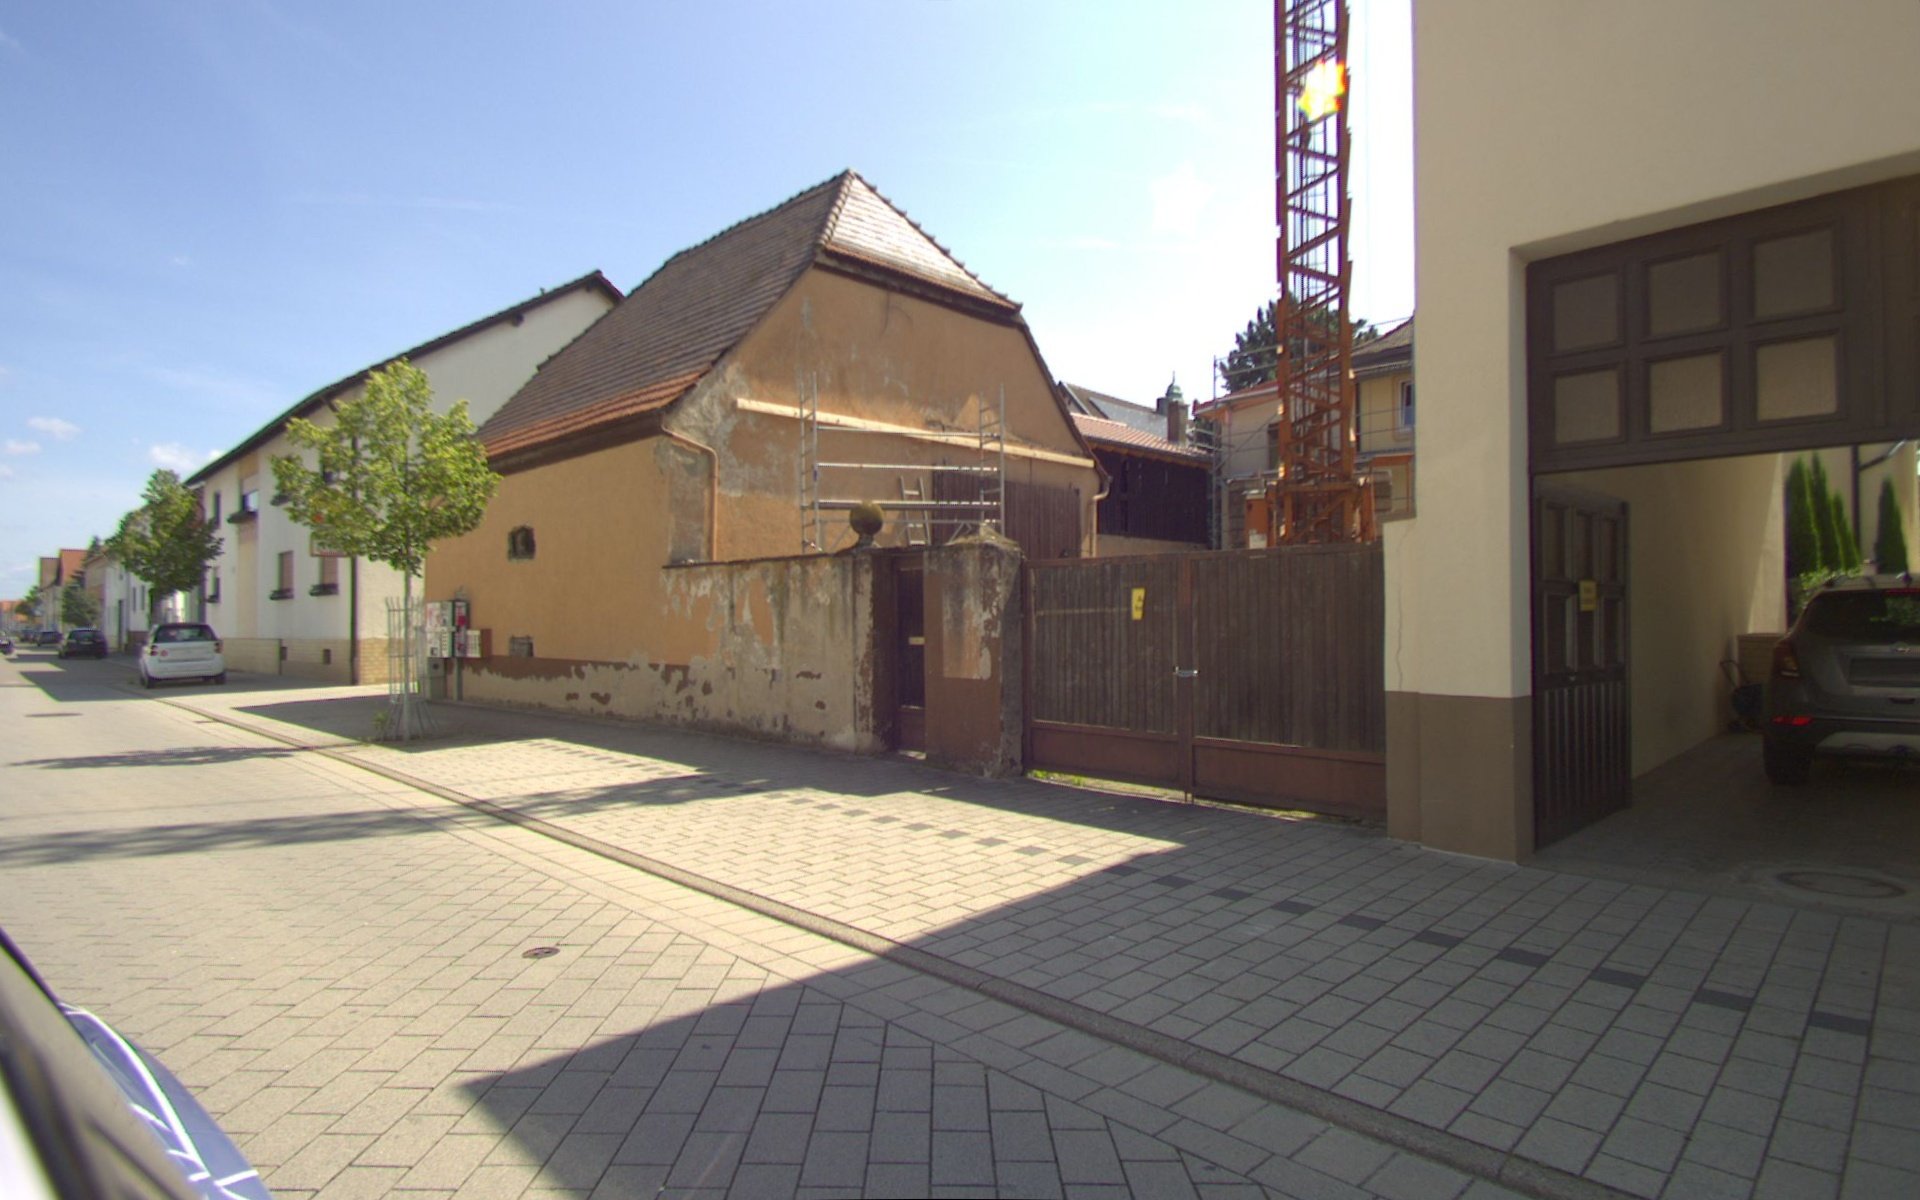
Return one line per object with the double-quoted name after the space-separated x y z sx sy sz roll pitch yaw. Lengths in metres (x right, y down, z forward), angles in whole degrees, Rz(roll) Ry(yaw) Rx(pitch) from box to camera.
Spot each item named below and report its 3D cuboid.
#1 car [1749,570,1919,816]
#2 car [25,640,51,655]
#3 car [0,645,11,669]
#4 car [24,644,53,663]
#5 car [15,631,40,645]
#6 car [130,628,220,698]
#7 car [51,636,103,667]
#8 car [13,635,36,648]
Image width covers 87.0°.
8.048 0.590 8.186 3.938 1.637 1.892 -3 0 -41 "car"
-99.500 5.149 109.172 4.001 1.564 1.829 -2 -3 44 "car"
-58.396 3.373 59.386 3.764 1.440 1.727 0 -2 0 "car"
-85.056 4.887 93.406 1.825 1.711 4.003 2 -3 -43 "car"
-112.113 4.569 121.678 4.001 1.592 1.971 -2 -3 44 "car"
-19.695 1.531 25.366 1.553 1.573 2.825 -2 0 -42 "car"
-46.152 2.666 52.878 3.956 1.578 1.728 -2 -3 44 "car"
-116.315 5.161 125.779 1.970 1.592 4.003 2 -3 -44 "car"
